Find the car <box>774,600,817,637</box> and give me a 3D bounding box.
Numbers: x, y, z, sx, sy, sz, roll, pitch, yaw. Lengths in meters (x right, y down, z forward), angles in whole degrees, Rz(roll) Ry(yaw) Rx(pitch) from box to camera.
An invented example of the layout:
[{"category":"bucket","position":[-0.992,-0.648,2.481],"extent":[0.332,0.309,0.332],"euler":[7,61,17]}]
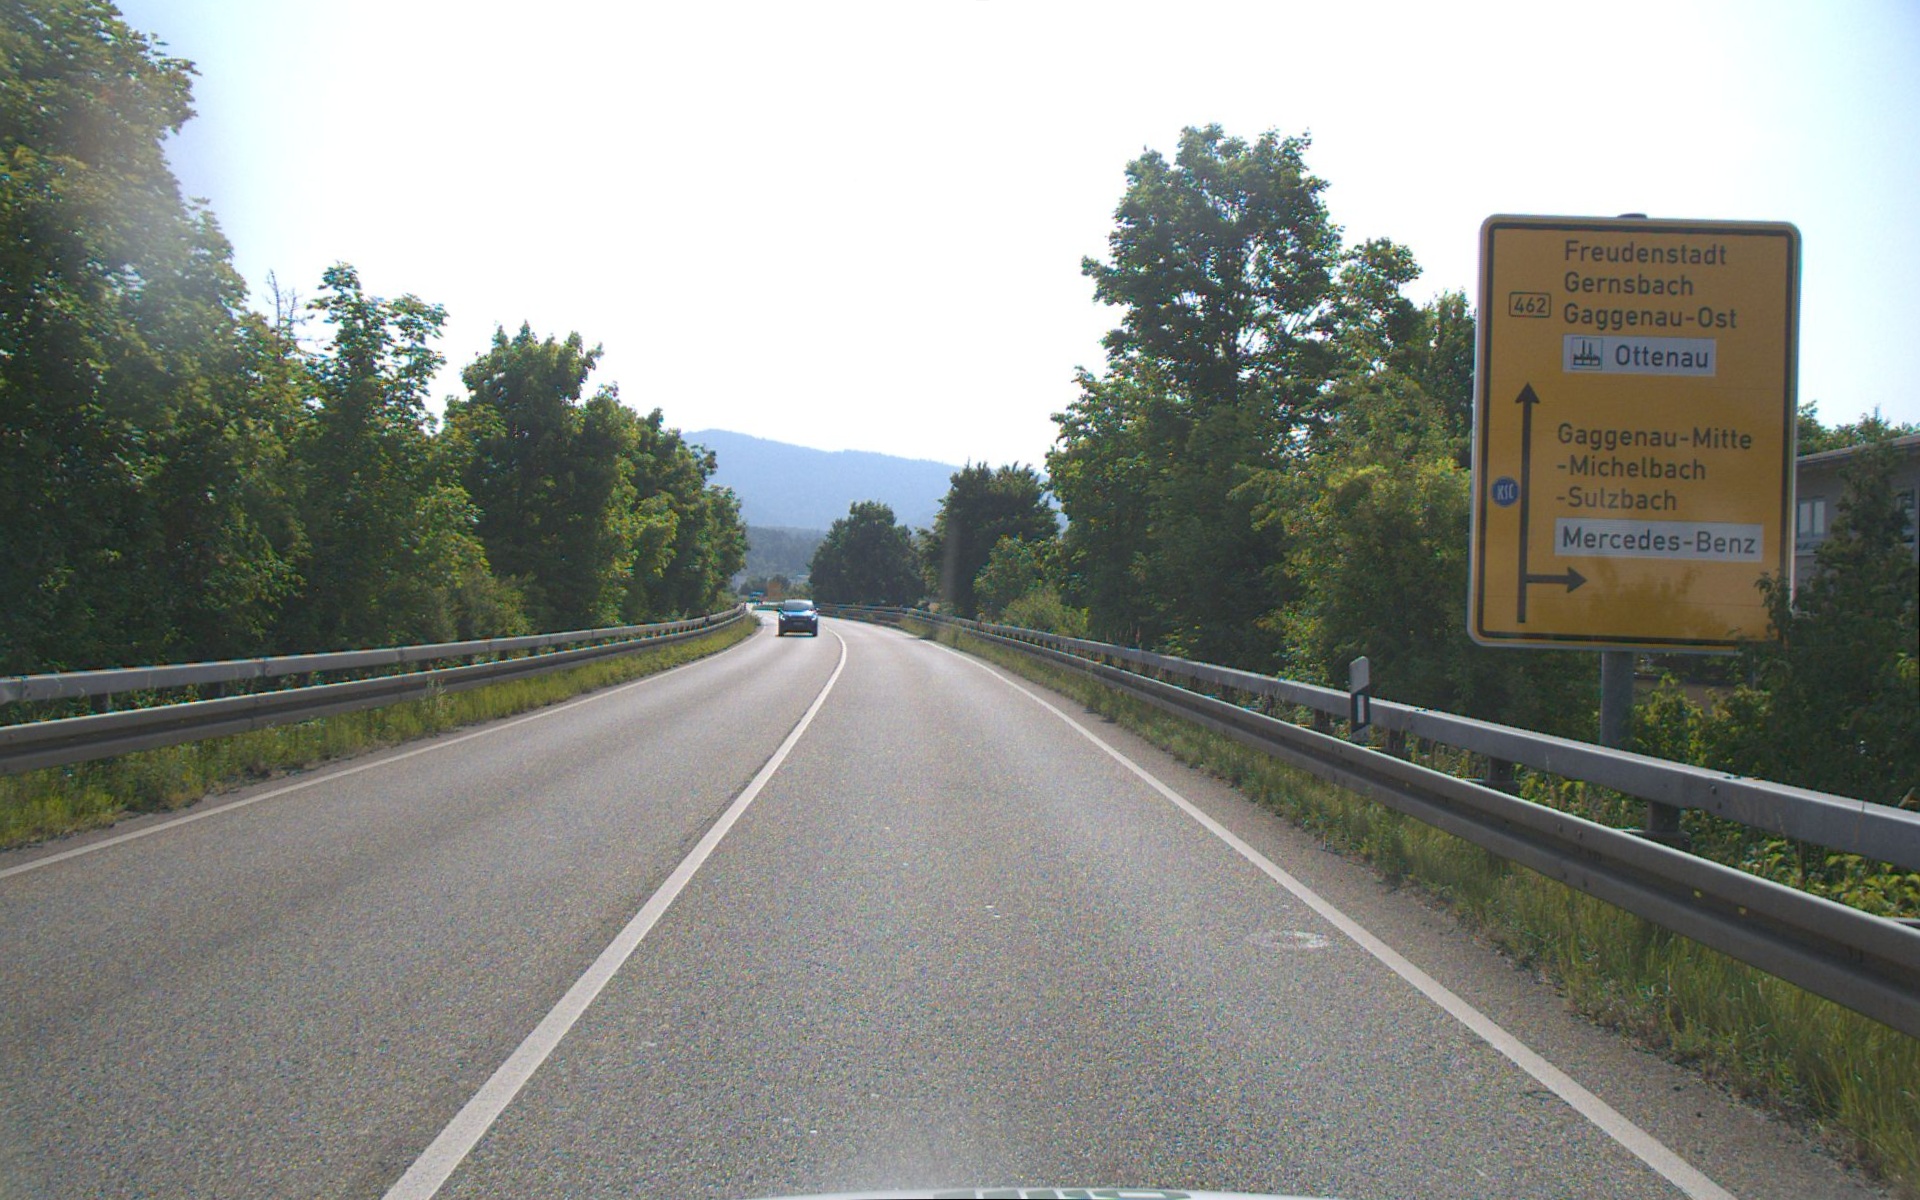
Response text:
[{"category":"car","position":[-7.350,0.792,74.333],"extent":[1.772,1.588,3.989],"euler":[-1,0,-4]}]
